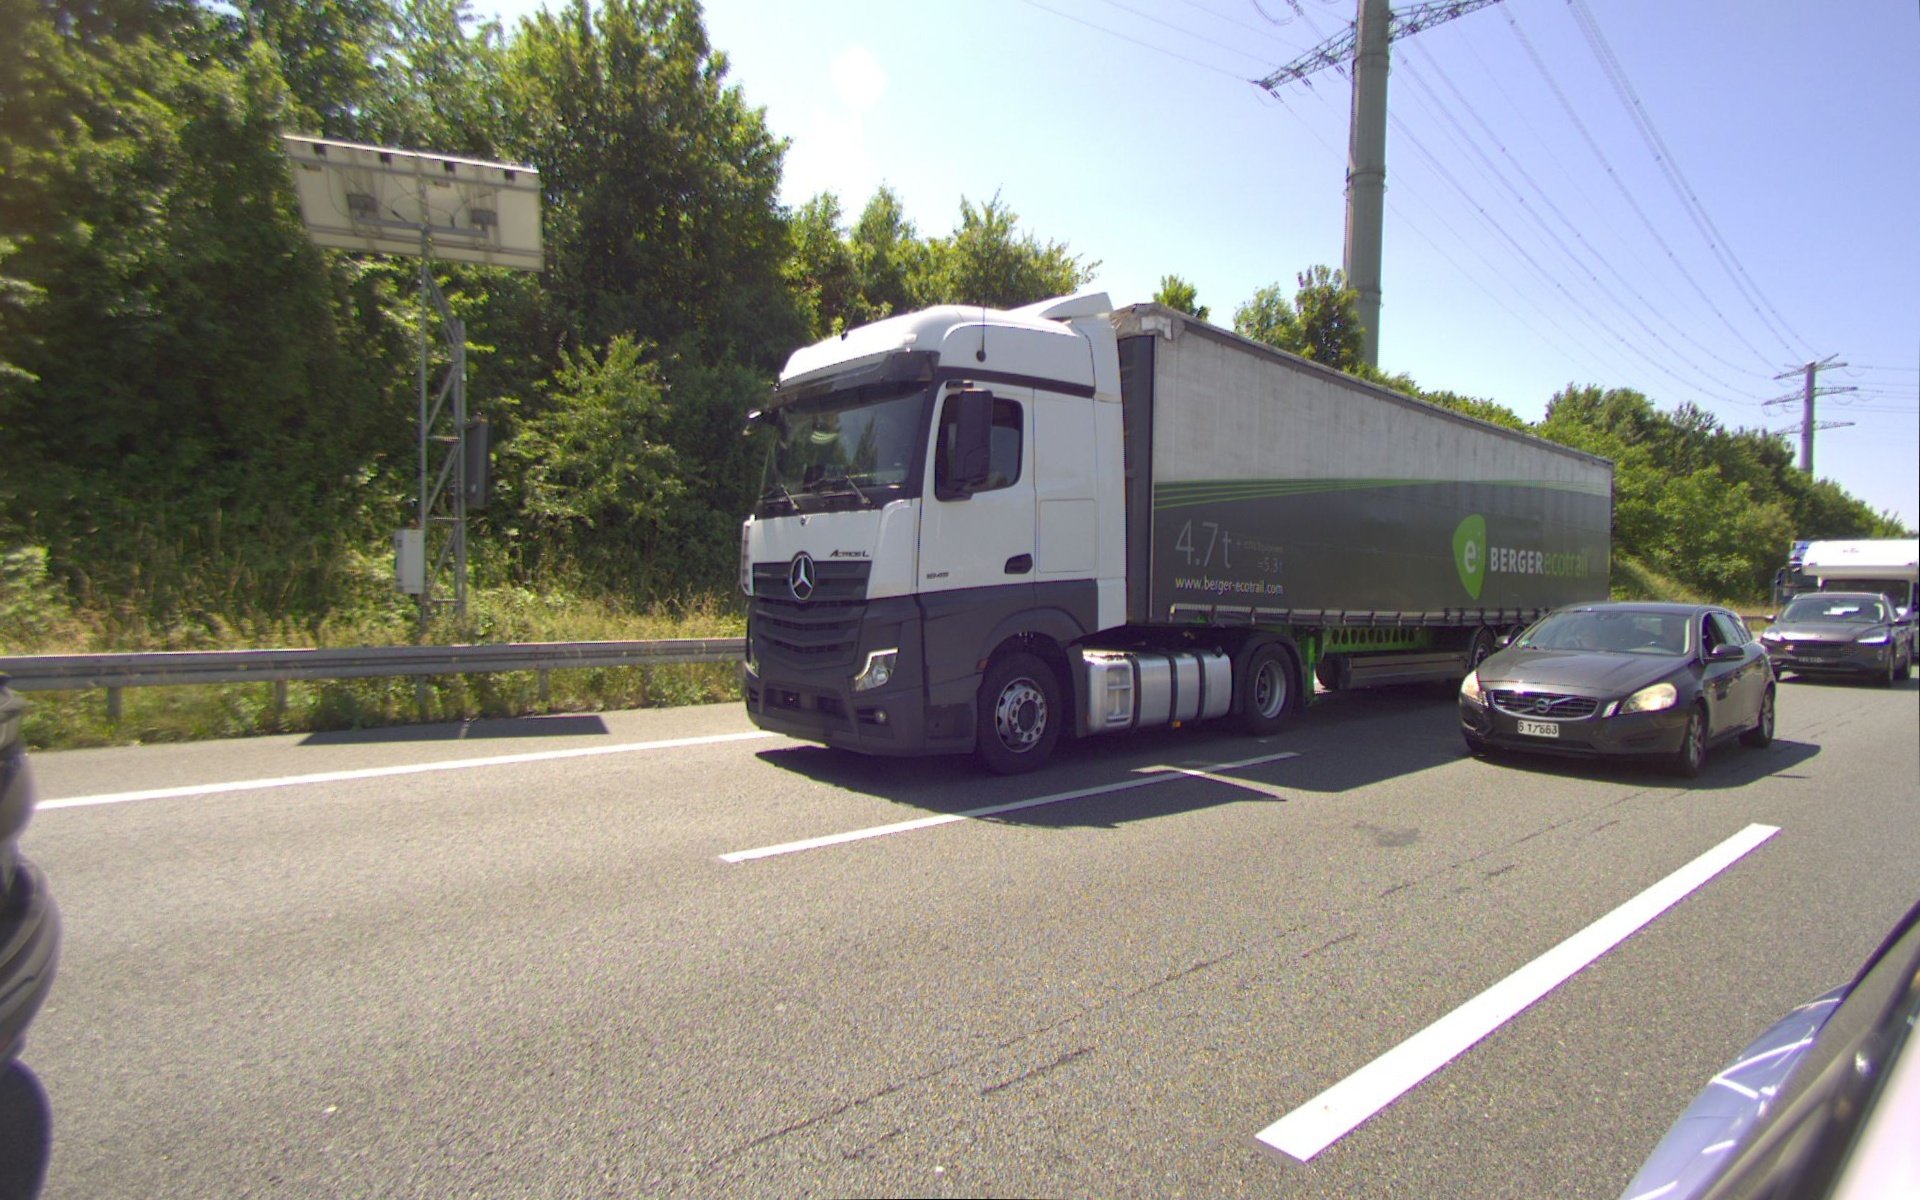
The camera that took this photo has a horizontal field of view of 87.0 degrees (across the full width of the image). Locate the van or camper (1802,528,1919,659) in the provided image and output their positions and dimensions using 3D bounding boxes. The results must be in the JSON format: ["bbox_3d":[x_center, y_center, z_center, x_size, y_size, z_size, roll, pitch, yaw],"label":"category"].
[{"bbox_3d":[24.987,-0.177,26.849,7.490,3.082,2.376,0,0,-37],"label":"van or camper"}]

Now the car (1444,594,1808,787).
[{"bbox_3d":[6.558,0.668,9.758,4.431,1.437,1.798,-1,0,-41],"label":"car"}]

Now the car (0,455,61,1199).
[{"bbox_3d":[-4.053,0.560,1.270,4.353,1.676,1.703,-1,0,-42],"label":"car"}]

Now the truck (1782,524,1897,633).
[{"bbox_3d":[36.378,-0.841,41.795,5.538,4.197,2.790,0,0,-41],"label":"truck"}]

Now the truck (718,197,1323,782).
[{"bbox_3d":[0.839,-0.801,9.995,5.692,4.098,2.738,0,0,-41],"label":"truck"}]

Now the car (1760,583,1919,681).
[{"bbox_3d":[16.705,0.513,19.013,4.146,1.631,1.892,-1,0,-41],"label":"car"}]

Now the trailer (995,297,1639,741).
[{"bbox_3d":[6.162,-0.802,14.635,12.882,4.098,2.788,-1,0,-41],"label":"trailer"}]
